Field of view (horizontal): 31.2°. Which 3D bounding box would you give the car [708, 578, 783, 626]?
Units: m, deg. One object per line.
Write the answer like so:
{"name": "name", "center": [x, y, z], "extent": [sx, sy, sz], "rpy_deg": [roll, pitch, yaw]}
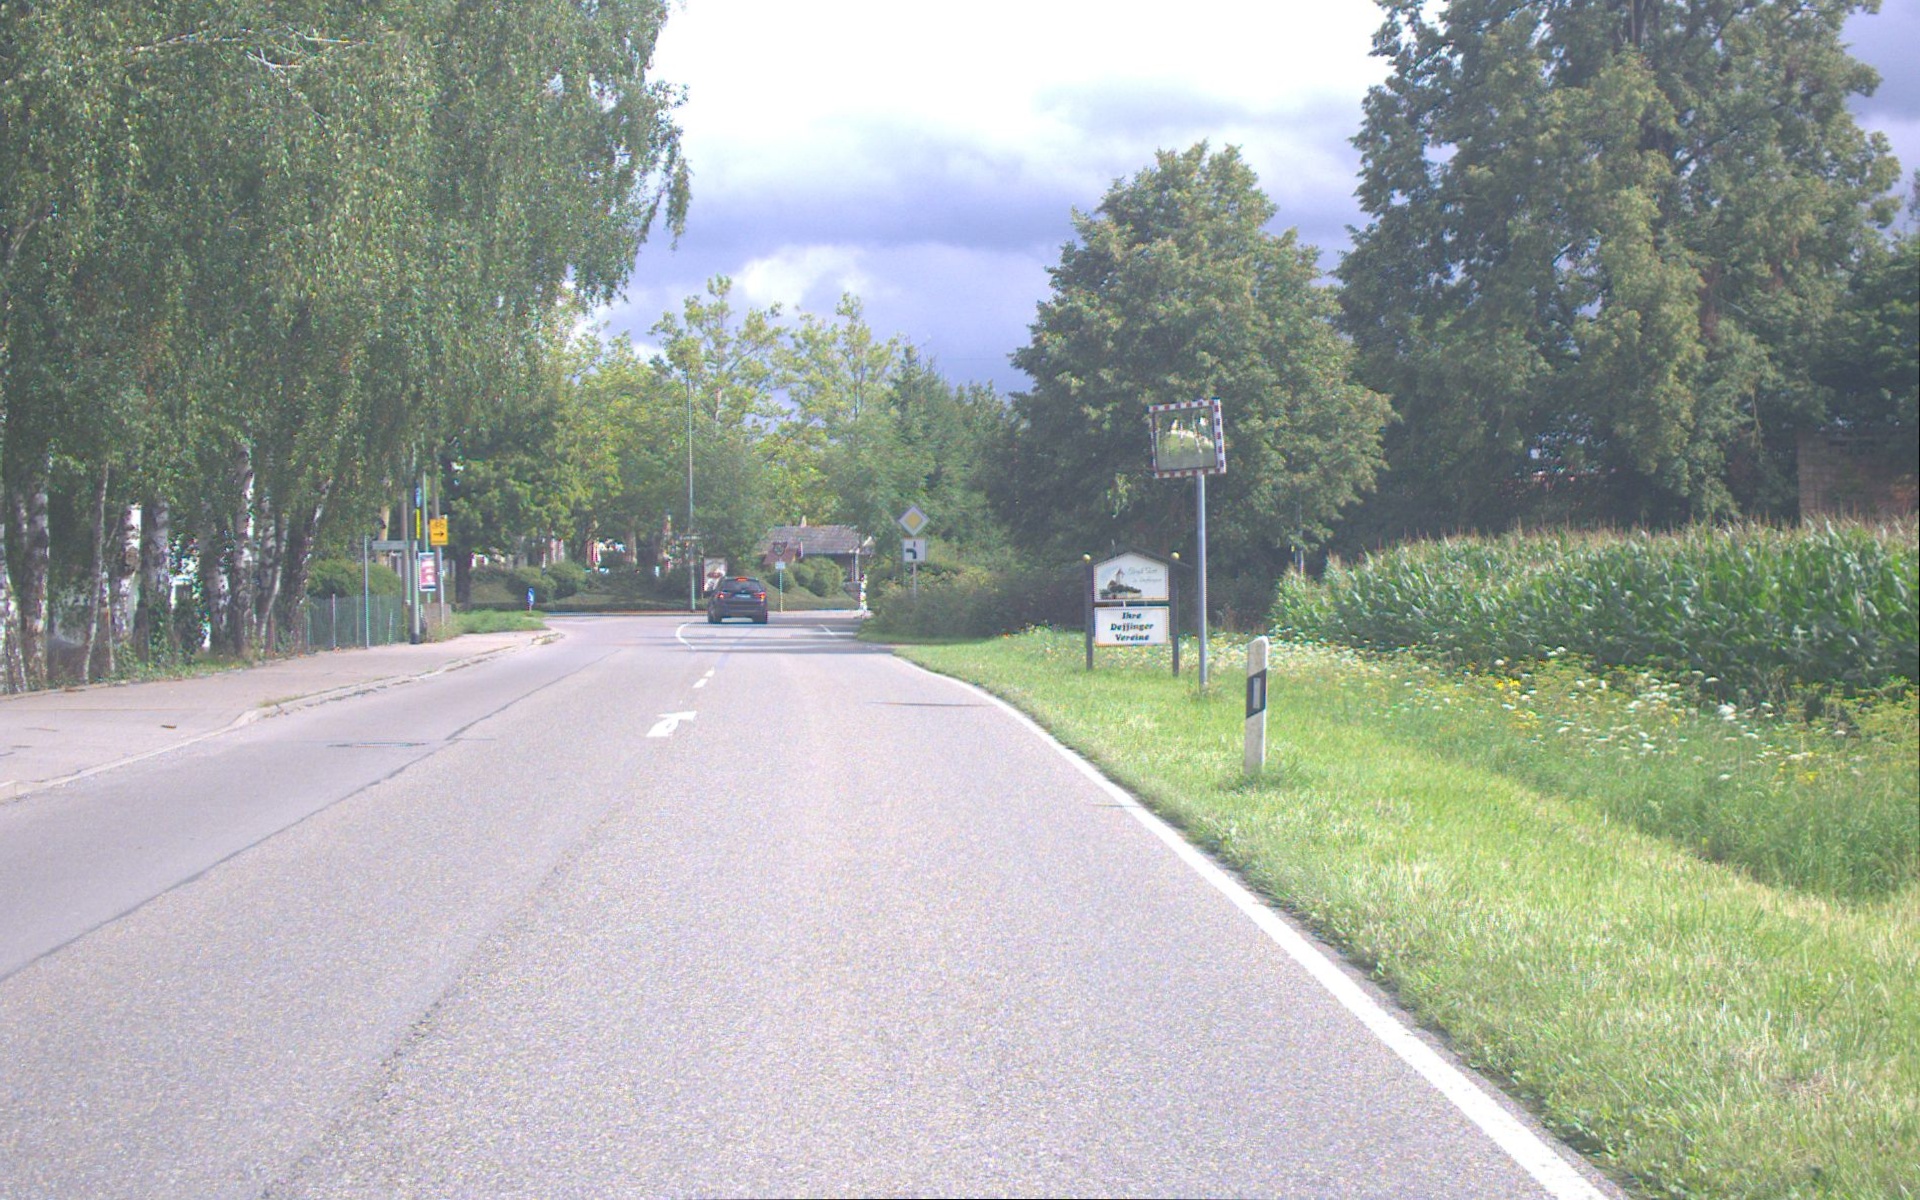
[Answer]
{"name": "car", "center": [-7.563, 0.054, 120.921], "extent": [1.993, 1.579, 4.001], "rpy_deg": [0, 1, -13]}
